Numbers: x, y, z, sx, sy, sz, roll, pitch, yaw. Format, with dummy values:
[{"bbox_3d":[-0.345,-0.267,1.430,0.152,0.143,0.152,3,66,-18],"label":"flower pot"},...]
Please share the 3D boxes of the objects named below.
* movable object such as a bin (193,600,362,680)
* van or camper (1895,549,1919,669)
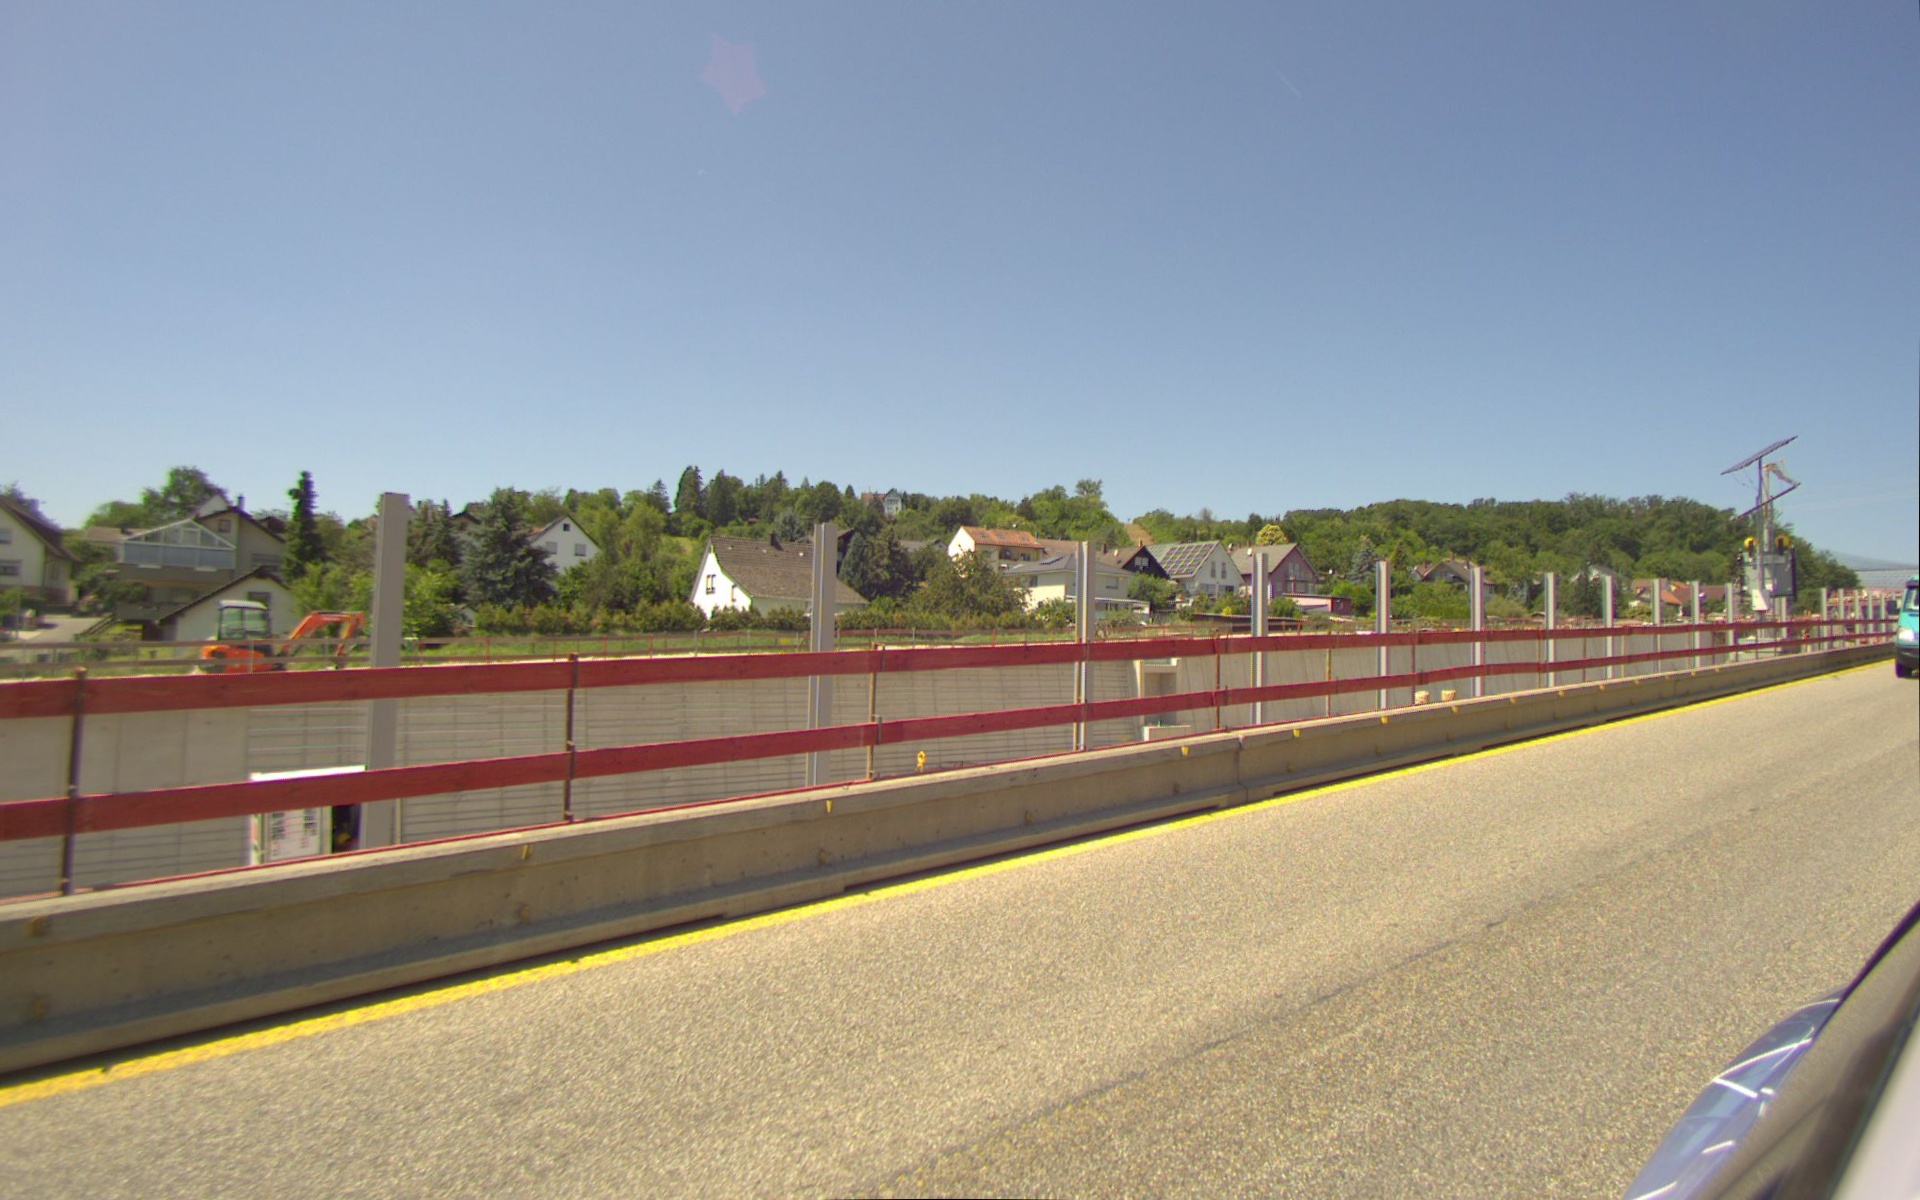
[{"bbox_3d":[-20.617,1.132,30.644,4.077,2.267,1.997,0,-1,-40],"label":"movable object such as a bin"},{"bbox_3d":[23.293,0.235,23.026,7.535,2.504,2.096,1,-1,-41],"label":"van or camper"}]
